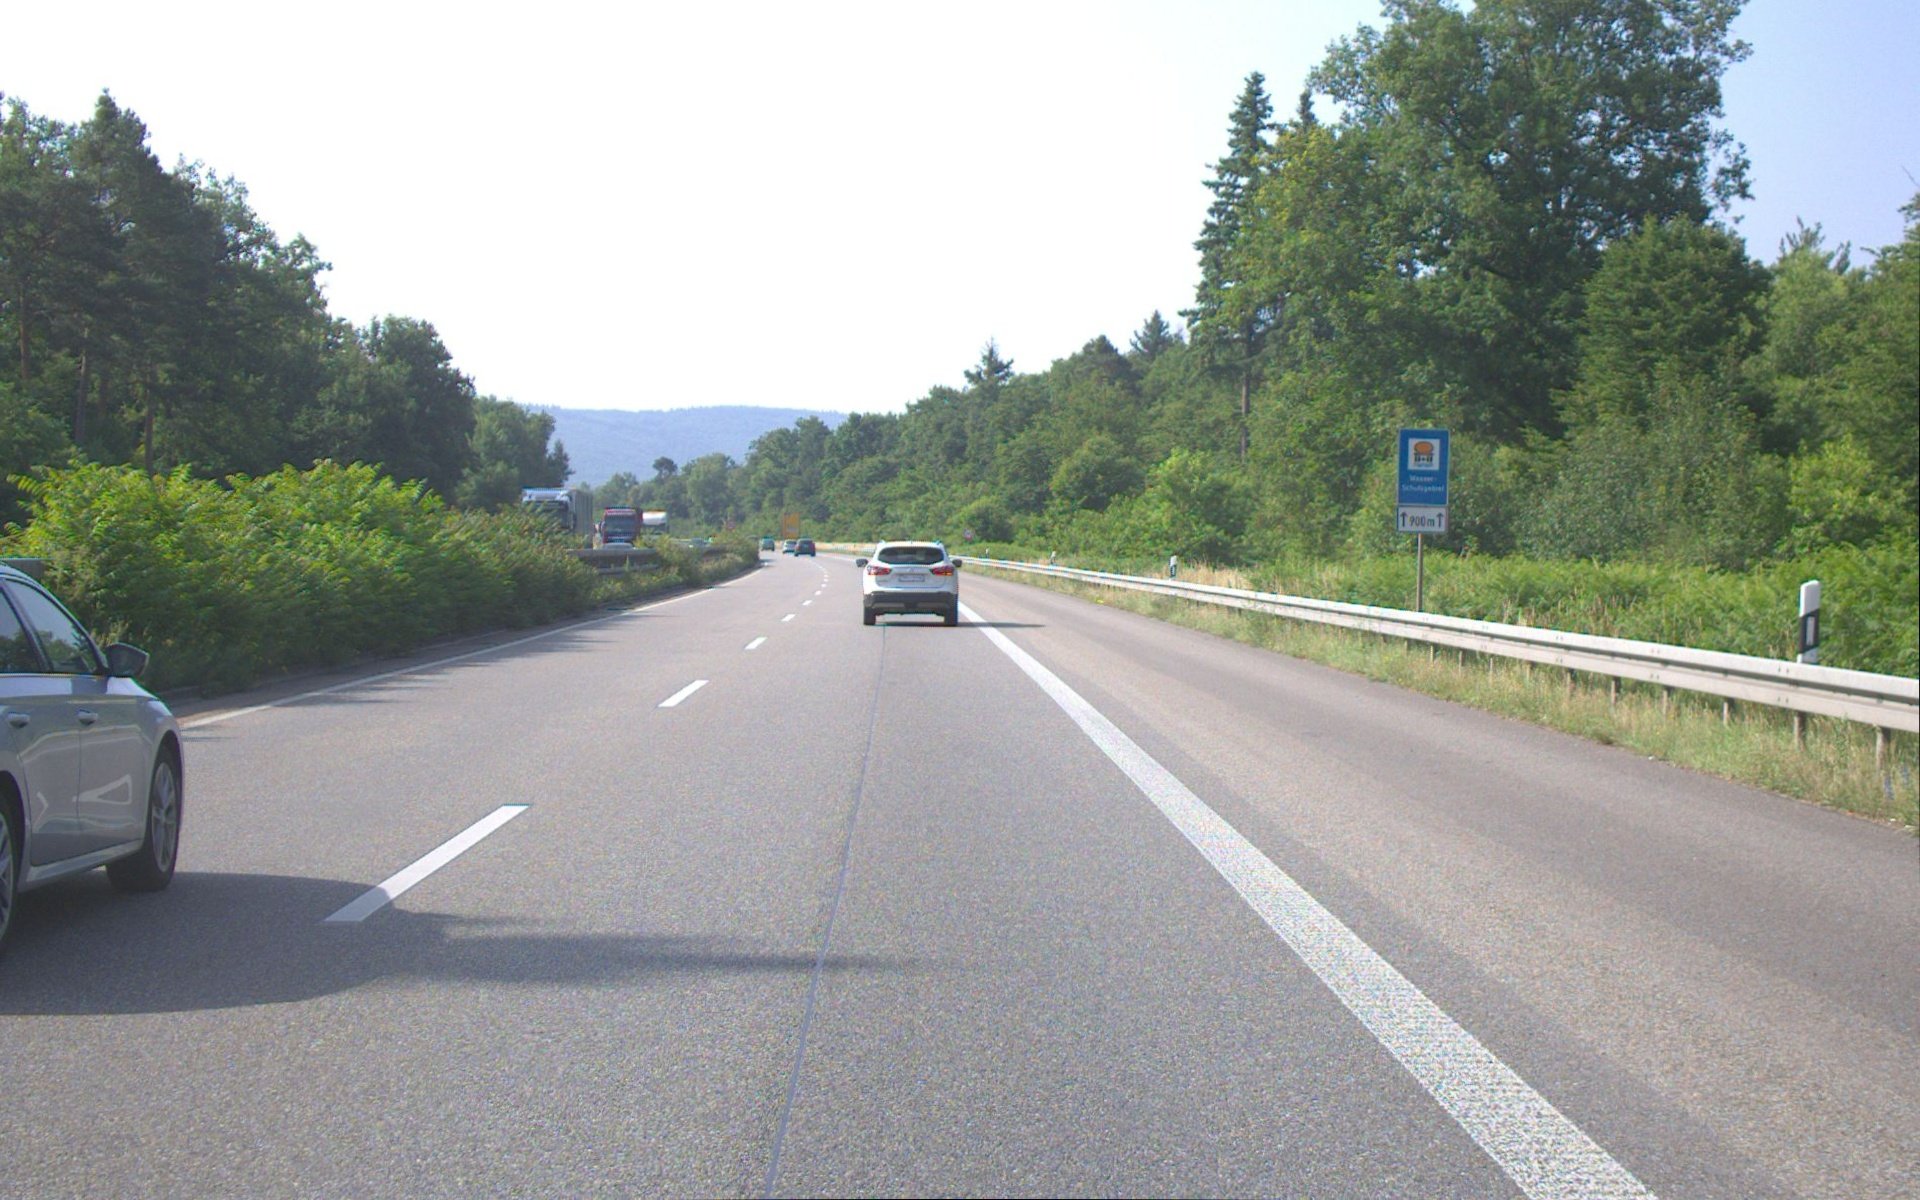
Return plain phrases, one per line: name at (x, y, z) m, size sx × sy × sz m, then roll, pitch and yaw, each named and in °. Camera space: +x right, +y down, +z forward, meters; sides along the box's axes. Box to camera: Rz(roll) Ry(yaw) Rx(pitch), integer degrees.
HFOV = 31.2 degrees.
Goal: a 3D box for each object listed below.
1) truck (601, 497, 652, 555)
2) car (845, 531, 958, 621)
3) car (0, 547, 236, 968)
truck at (-23.551, -5.249, 243.087) m, size 3.266 × 4.025 × 6.234 m, roll 0°, pitch 1°, yaw -3°
car at (-1.152, -0.486, 65.585) m, size 1.873 × 1.581 × 4.001 m, roll 2°, pitch 1°, yaw -4°
car at (-4.268, 0.537, 13.499) m, size 1.792 × 1.433 × 5.279 m, roll 0°, pitch 1°, yaw -1°
